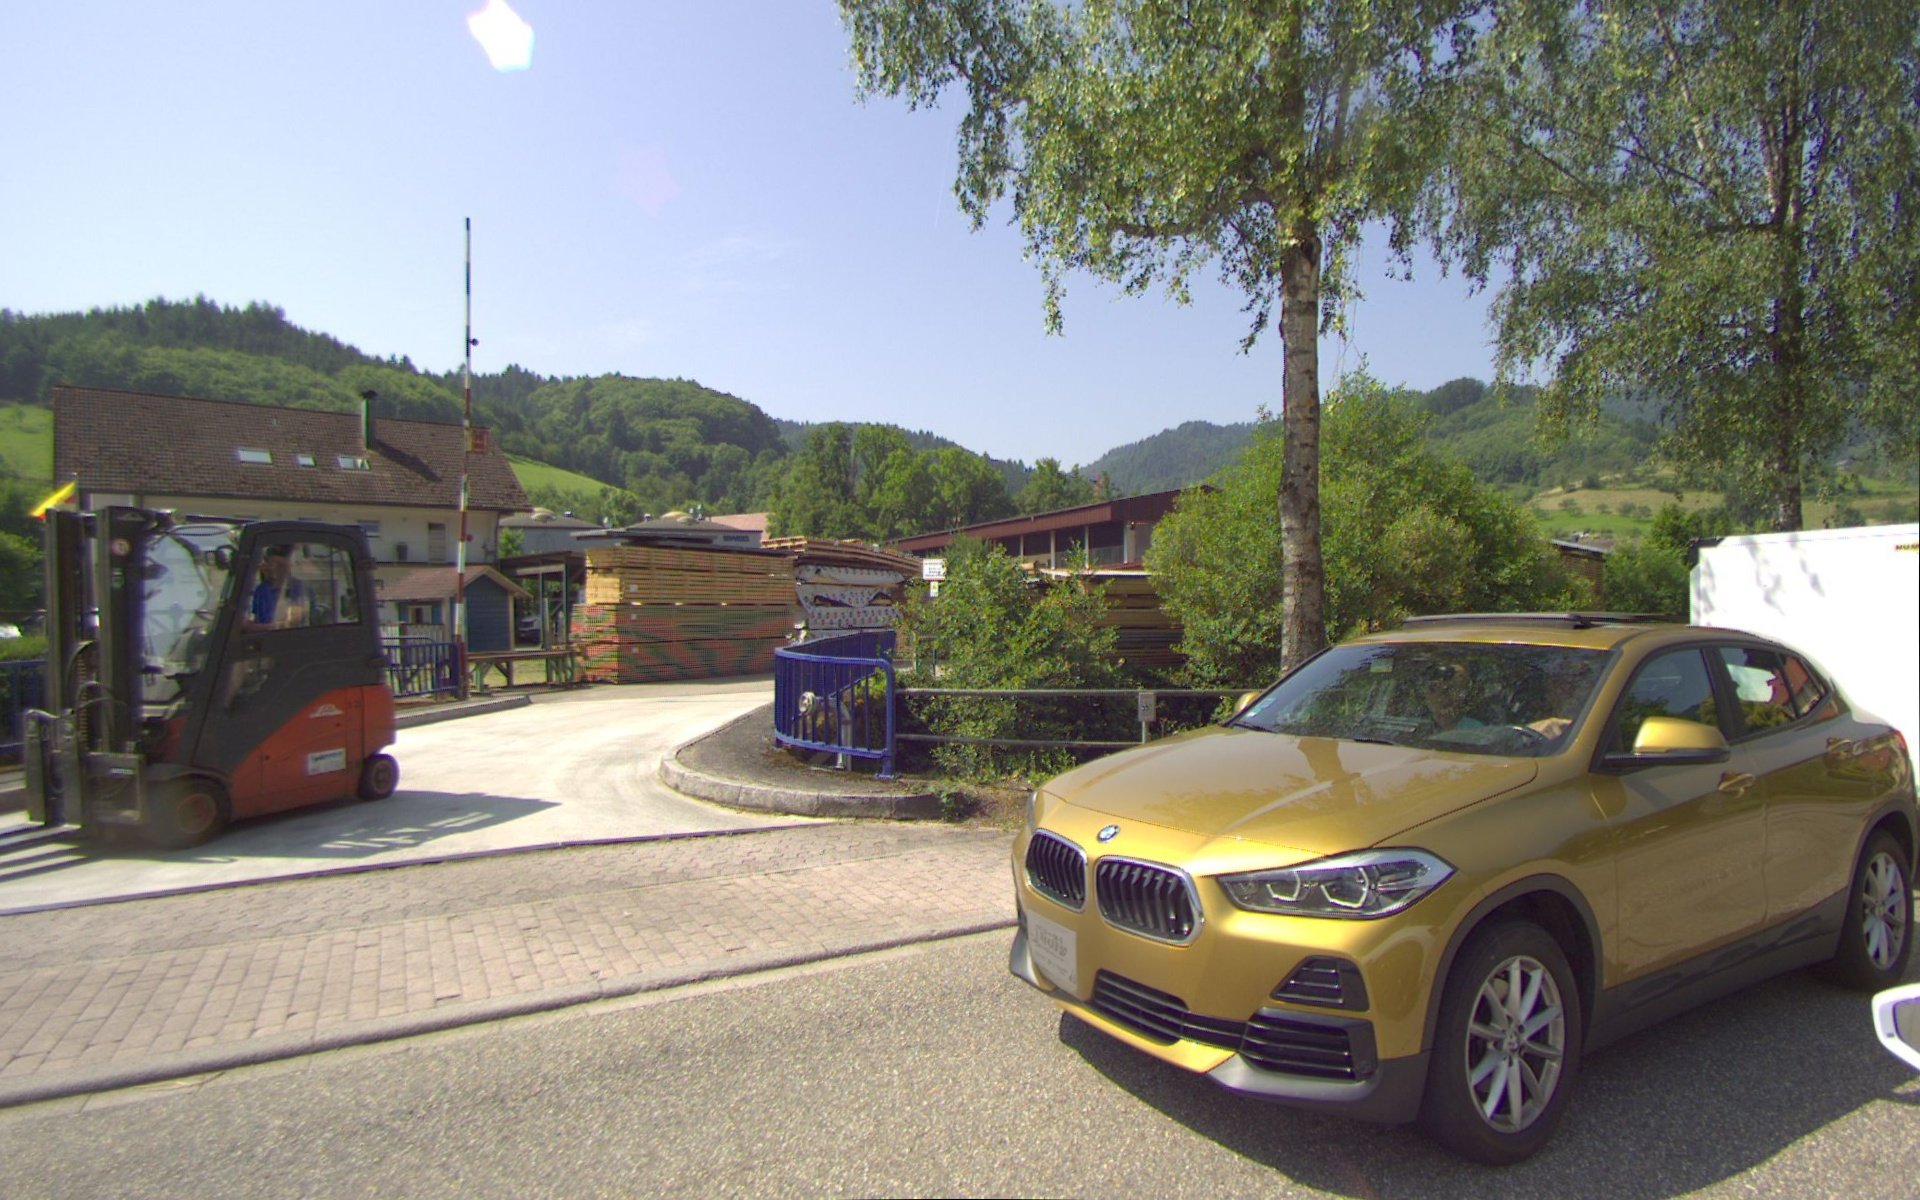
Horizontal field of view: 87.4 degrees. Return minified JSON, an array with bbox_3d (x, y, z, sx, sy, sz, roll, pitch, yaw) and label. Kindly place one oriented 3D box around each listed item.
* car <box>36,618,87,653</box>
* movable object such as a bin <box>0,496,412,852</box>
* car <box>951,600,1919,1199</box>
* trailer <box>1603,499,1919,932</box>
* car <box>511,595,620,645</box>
[{"bbox_3d":[-40.683,1.593,45.473,1.607,1.486,3.271,1,-1,-44],"label":"car"},{"bbox_3d":[-5.168,0.468,7.090,1.113,2.099,2.127,0,-2,14],"label":"movable object such as a bin"},{"bbox_3d":[2.172,0.821,4.159,4.101,1.520,1.804,1,-2,-31],"label":"car"},{"bbox_3d":[5.864,0.611,6.448,3.628,2.105,1.460,1,-2,-31],"label":"trailer"},{"bbox_3d":[-19.742,0.993,50.352,1.973,2.408,4.681,1,-1,44],"label":"car"}]
